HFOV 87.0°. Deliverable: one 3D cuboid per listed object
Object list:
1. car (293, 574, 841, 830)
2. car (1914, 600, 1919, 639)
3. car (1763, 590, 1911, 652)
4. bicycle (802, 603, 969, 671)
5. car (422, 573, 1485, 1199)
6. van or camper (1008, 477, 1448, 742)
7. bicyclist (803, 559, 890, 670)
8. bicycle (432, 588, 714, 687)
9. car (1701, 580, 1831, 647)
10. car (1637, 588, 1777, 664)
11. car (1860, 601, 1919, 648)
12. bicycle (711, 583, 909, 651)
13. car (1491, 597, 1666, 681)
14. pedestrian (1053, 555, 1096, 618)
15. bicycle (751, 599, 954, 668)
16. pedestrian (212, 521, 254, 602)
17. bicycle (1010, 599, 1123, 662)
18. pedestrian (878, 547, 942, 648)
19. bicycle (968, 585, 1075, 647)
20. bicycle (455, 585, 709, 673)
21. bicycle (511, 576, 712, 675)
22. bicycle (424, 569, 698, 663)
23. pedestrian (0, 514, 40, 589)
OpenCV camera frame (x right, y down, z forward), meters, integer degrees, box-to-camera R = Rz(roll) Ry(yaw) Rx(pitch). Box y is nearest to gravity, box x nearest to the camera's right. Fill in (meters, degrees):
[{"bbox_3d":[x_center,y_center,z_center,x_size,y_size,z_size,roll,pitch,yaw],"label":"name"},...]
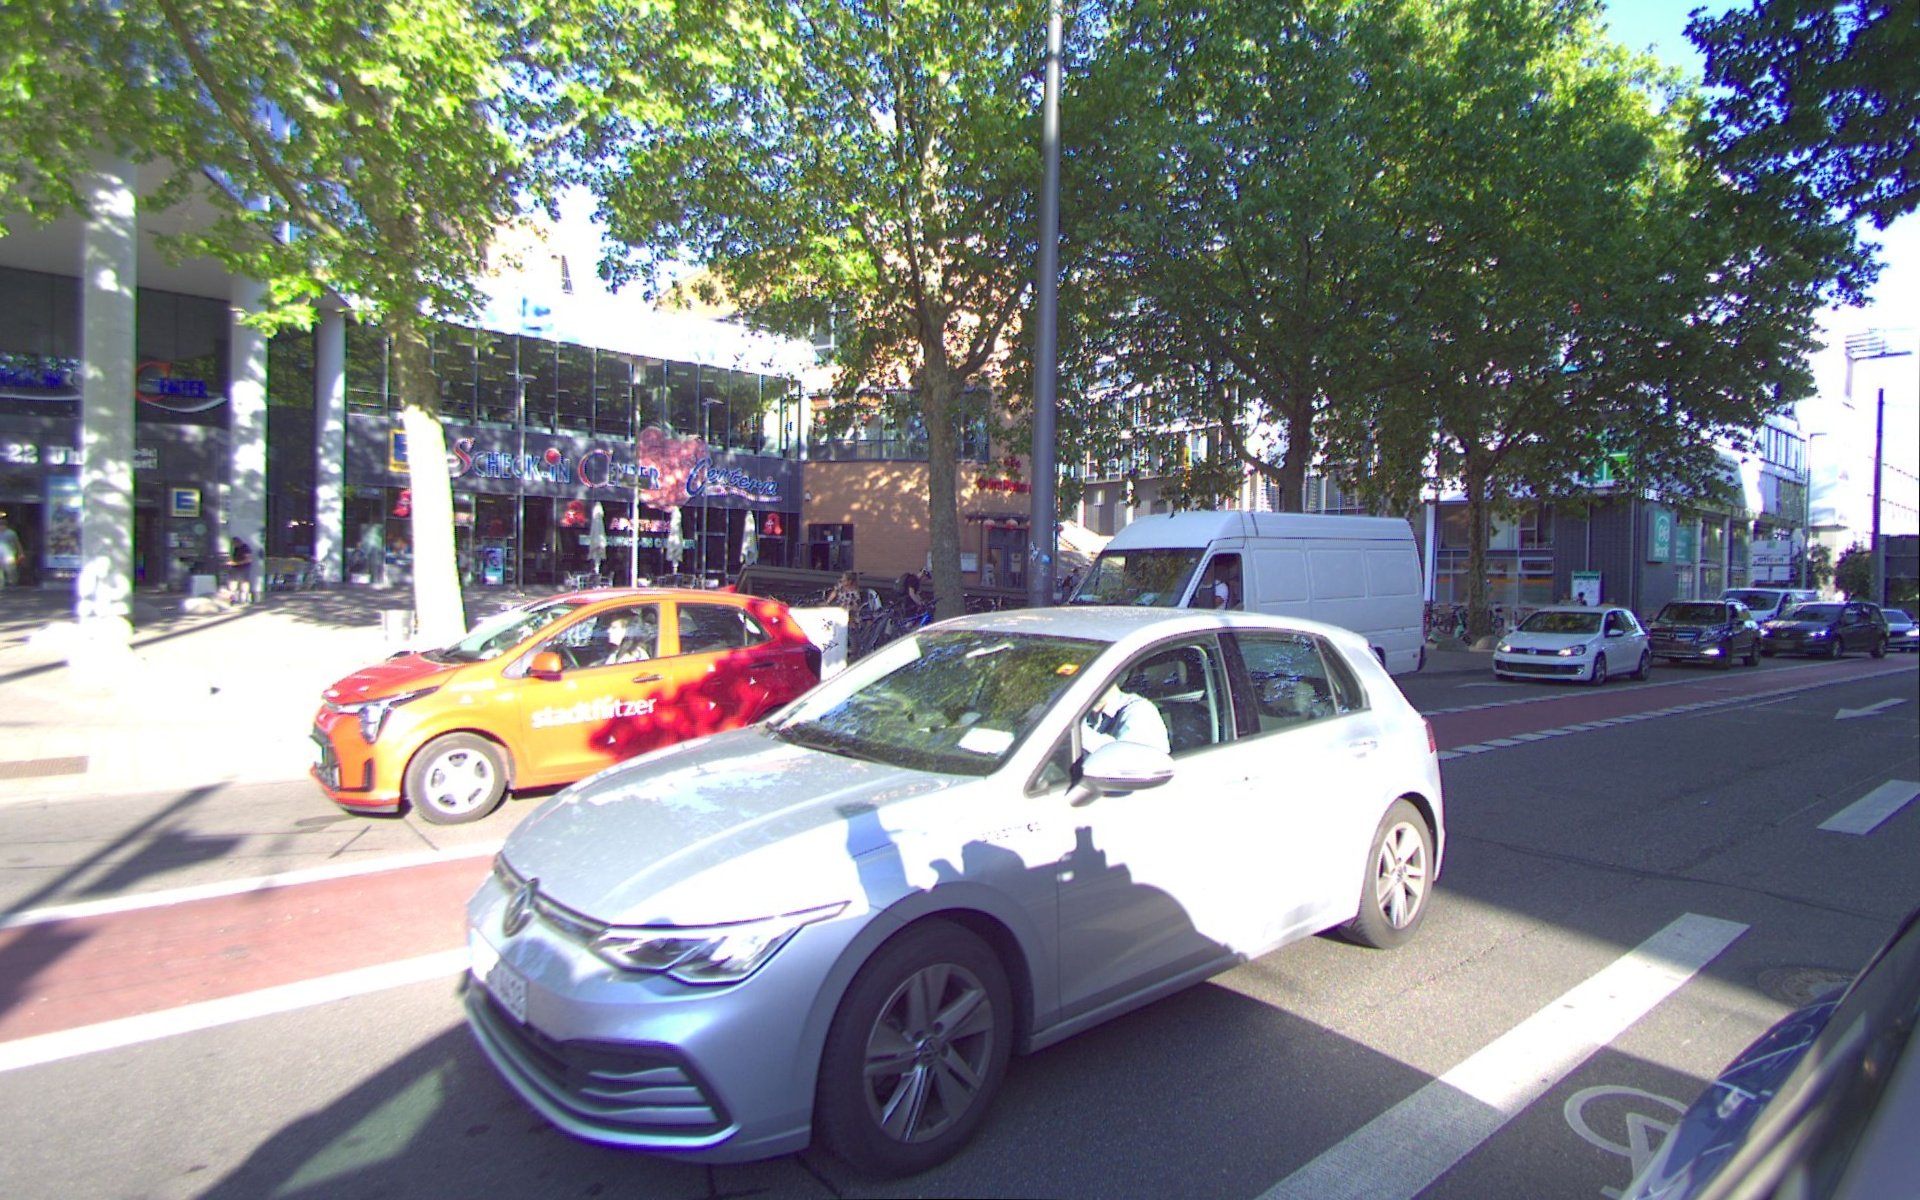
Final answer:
[{"bbox_3d":[-2.783,0.579,7.564,3.533,1.478,1.493,0,0,-40],"label":"car"},{"bbox_3d":[38.915,0.738,39.184,4.112,1.508,1.838,0,-1,-32],"label":"car"},{"bbox_3d":[25.013,0.567,28.849,4.300,1.656,1.714,0,0,-27],"label":"car"},{"bbox_3d":[-1.136,0.541,15.995,2.591,0.960,0.924,-1,0,-41],"label":"bicycle"},{"bbox_3d":[0.266,0.680,3.967,3.927,1.436,1.752,1,0,-39],"label":"car"},{"bbox_3d":[3.676,0.066,12.879,6.380,2.647,2.005,0,1,-39],"label":"van or camper"},{"bbox_3d":[-1.755,0.202,15.590,1.005,1.641,0.902,0,0,-41],"label":"bicyclist"},{"bbox_3d":[-5.511,0.483,14.700,3.744,1.236,0.758,-2,1,-35],"label":"bicycle"},{"bbox_3d":[25.984,0.377,32.539,5.809,1.989,1.933,0,0,-37],"label":"car"},{"bbox_3d":[18.047,0.568,24.392,4.174,1.656,1.768,0,0,-40],"label":"car"},{"bbox_3d":[31.939,0.790,34.513,1.830,1.508,4.131,1,0,42],"label":"car"},{"bbox_3d":[-2.549,0.246,17.623,3.352,1.013,1.051,-1,6,-41],"label":"bicycle"},{"bbox_3d":[11.906,0.676,19.398,3.914,1.446,1.639,0,0,-38],"label":"car"},{"bbox_3d":[3.724,-0.440,33.034,0.995,2.039,1.015,0,0,-29],"label":"pedestrian"},{"bbox_3d":[-1.716,0.500,16.760,3.352,1.014,1.050,-1,0,-41],"label":"bicycle"},{"bbox_3d":[-18.799,-0.971,26.183,0.843,2.039,1.024,0,0,-34],"label":"pedestrian"},{"bbox_3d":[2.008,0.544,18.820,2.295,1.073,0.682,-1,1,-39],"label":"bicycle"},{"bbox_3d":[-1.027,-0.068,21.127,0.922,2.039,1.085,2,1,24],"label":"pedestrian"},{"bbox_3d":[1.242,0.290,20.170,2.263,1.177,0.671,-1,0,-38],"label":"bicycle"},{"bbox_3d":[-5.967,0.404,16.249,3.746,1.236,0.793,-2,1,-37],"label":"bicycle"},{"bbox_3d":[-4.771,0.307,13.977,2.504,1.236,0.758,-2,1,-35],"label":"bicycle"},{"bbox_3d":[-5.927,0.284,15.312,3.743,1.236,0.729,4,-2,-35],"label":"bicycle"},{"bbox_3d":[-24.722,-1.255,26.298,0.857,1.912,0.813,1,2,2],"label":"pedestrian"}]
